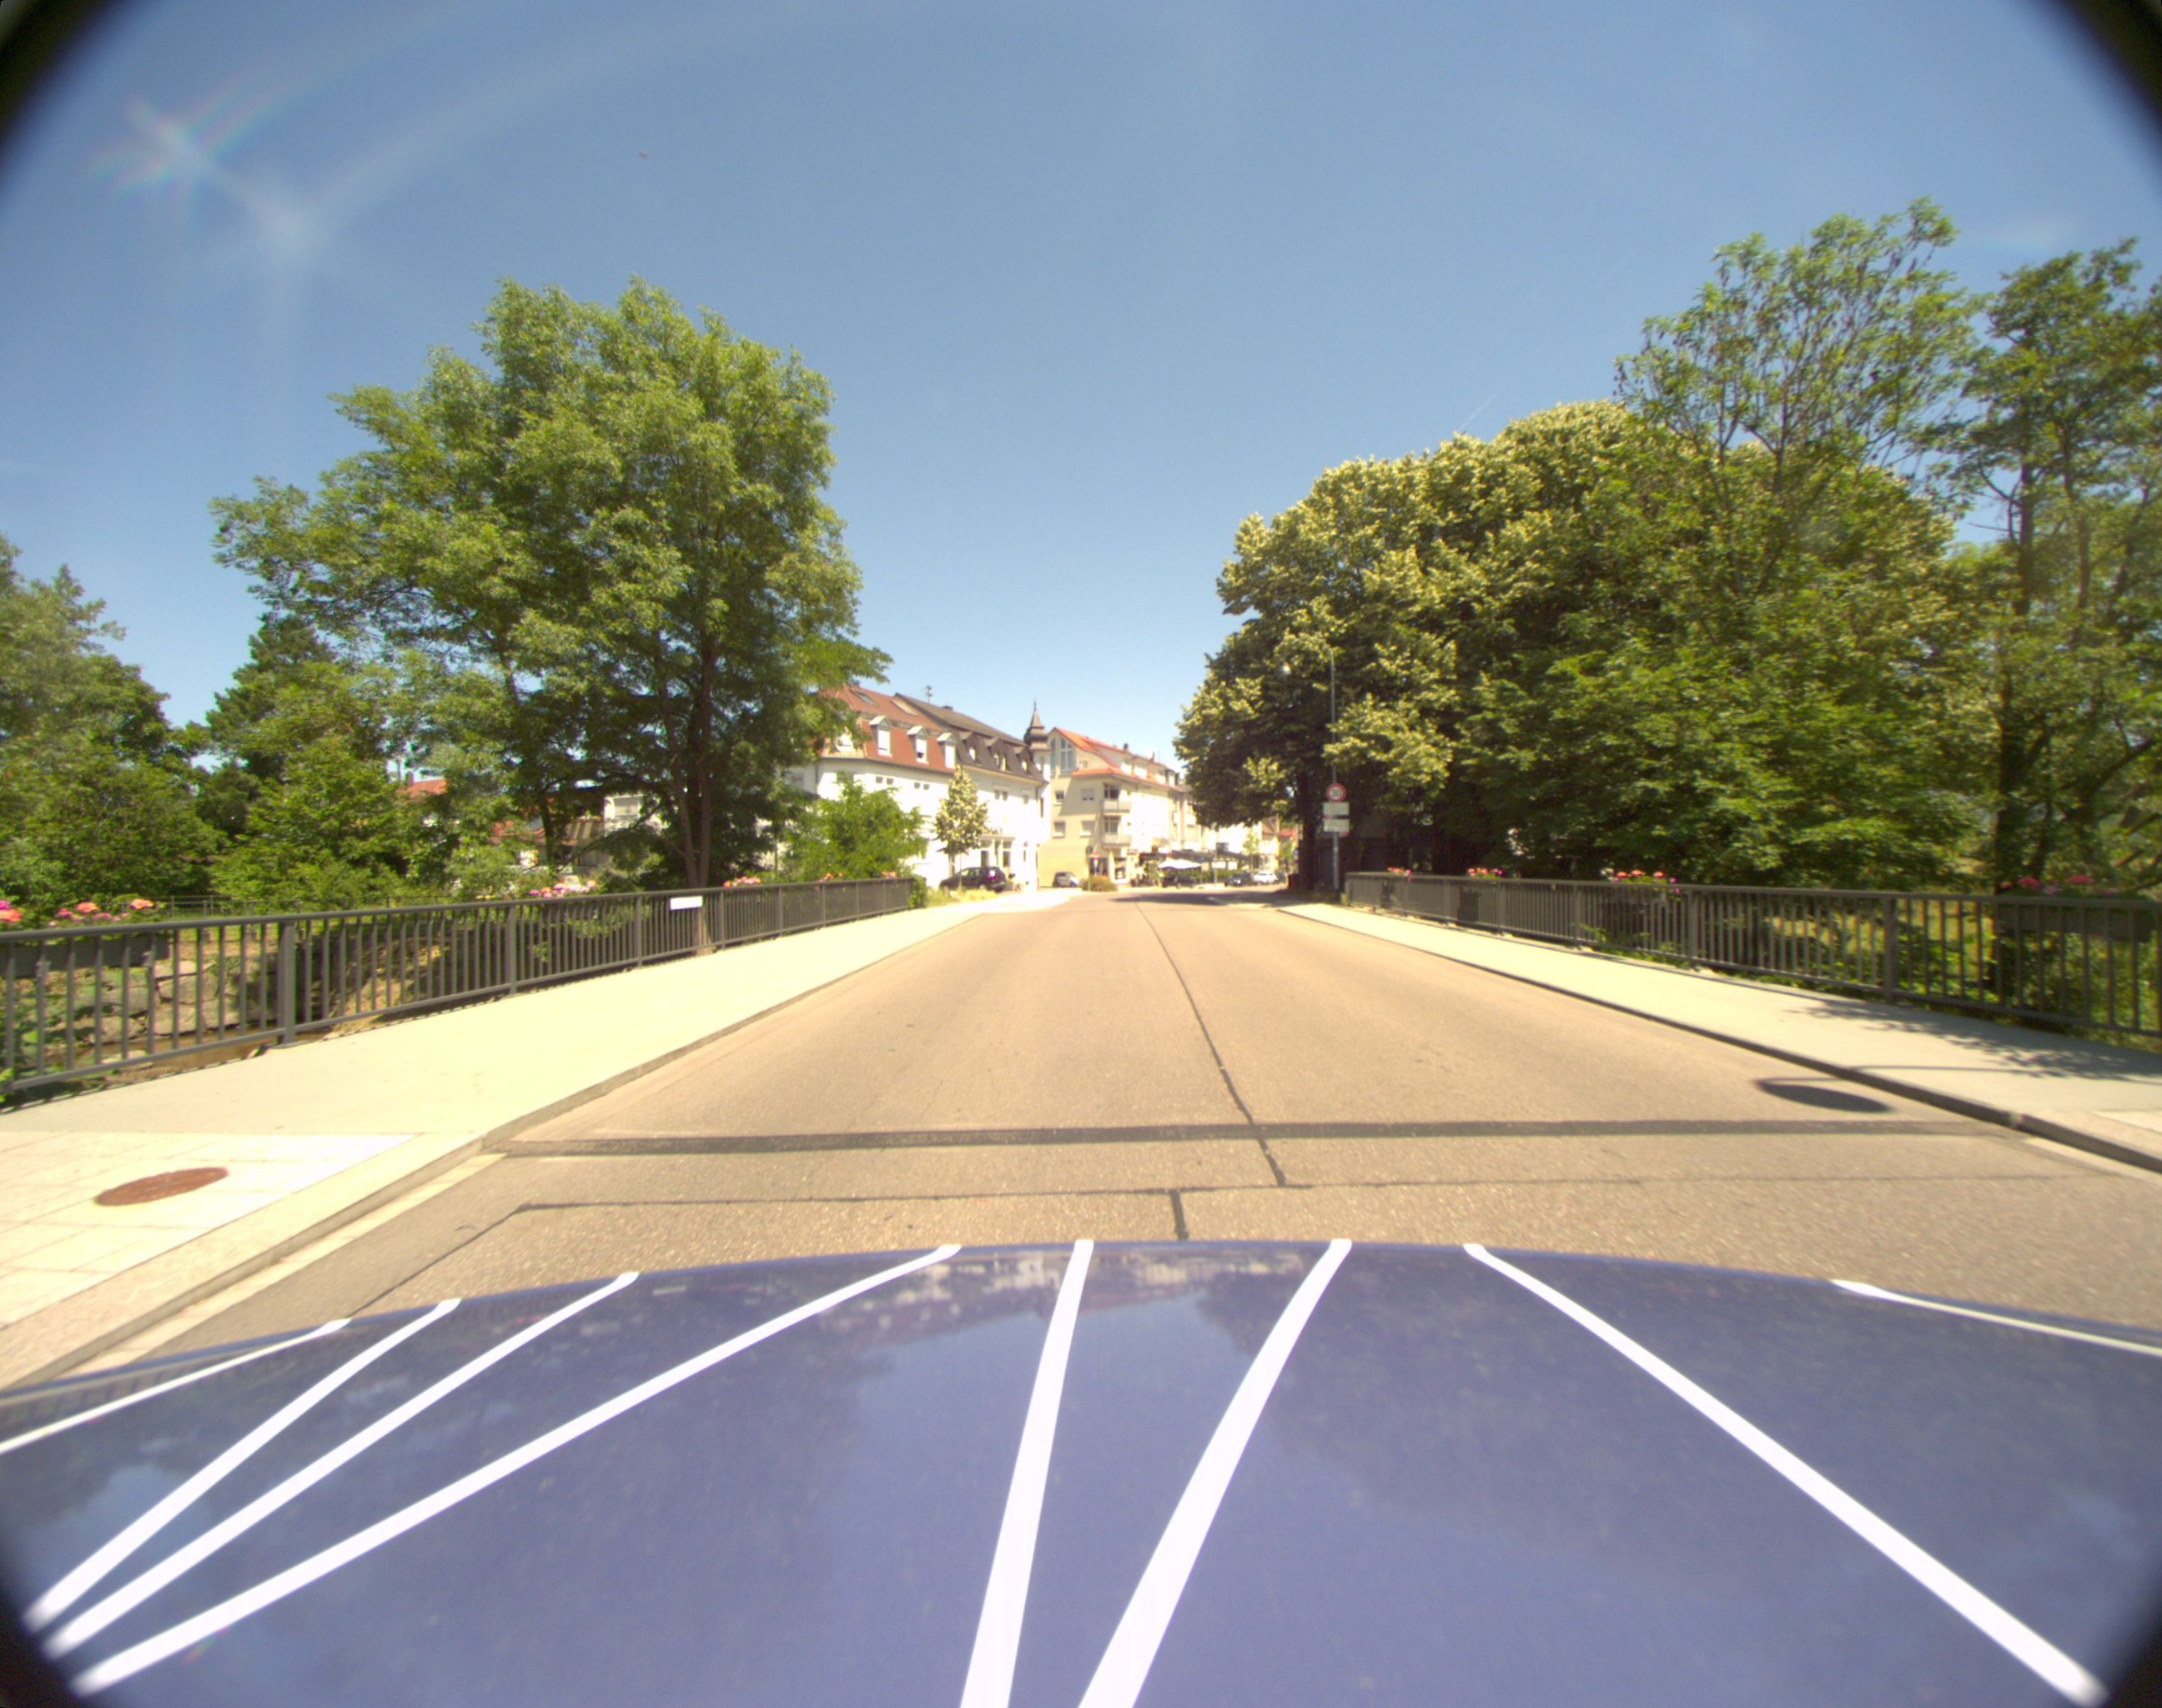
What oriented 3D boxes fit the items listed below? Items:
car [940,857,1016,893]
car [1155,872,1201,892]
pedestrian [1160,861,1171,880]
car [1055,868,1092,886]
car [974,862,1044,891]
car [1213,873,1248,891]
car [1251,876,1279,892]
[{"bbox_3d":[-6.177,1.262,45.549,3.990,2.001,2.004,-3,-1,27],"label":"car"},{"bbox_3d":[8.861,2.556,69.544,4.009,1.705,1.995,1,-1,-41],"label":"car"},{"bbox_3d":[7.924,1.511,71.276,0.814,1.745,0.636,1,1,24],"label":"pedestrian"},{"bbox_3d":[-0.727,2.153,71.034,3.038,1.443,1.570,-3,-1,23],"label":"car"},{"bbox_3d":[-4.625,1.435,48.734,3.990,1.660,2.004,-2,-1,27],"label":"car"},{"bbox_3d":[15.305,2.887,77.956,2.001,1.705,3.996,2,-2,-15],"label":"car"},{"bbox_3d":[20.496,3.341,84.538,1.994,1.674,4.008,0,0,30],"label":"car"}]
